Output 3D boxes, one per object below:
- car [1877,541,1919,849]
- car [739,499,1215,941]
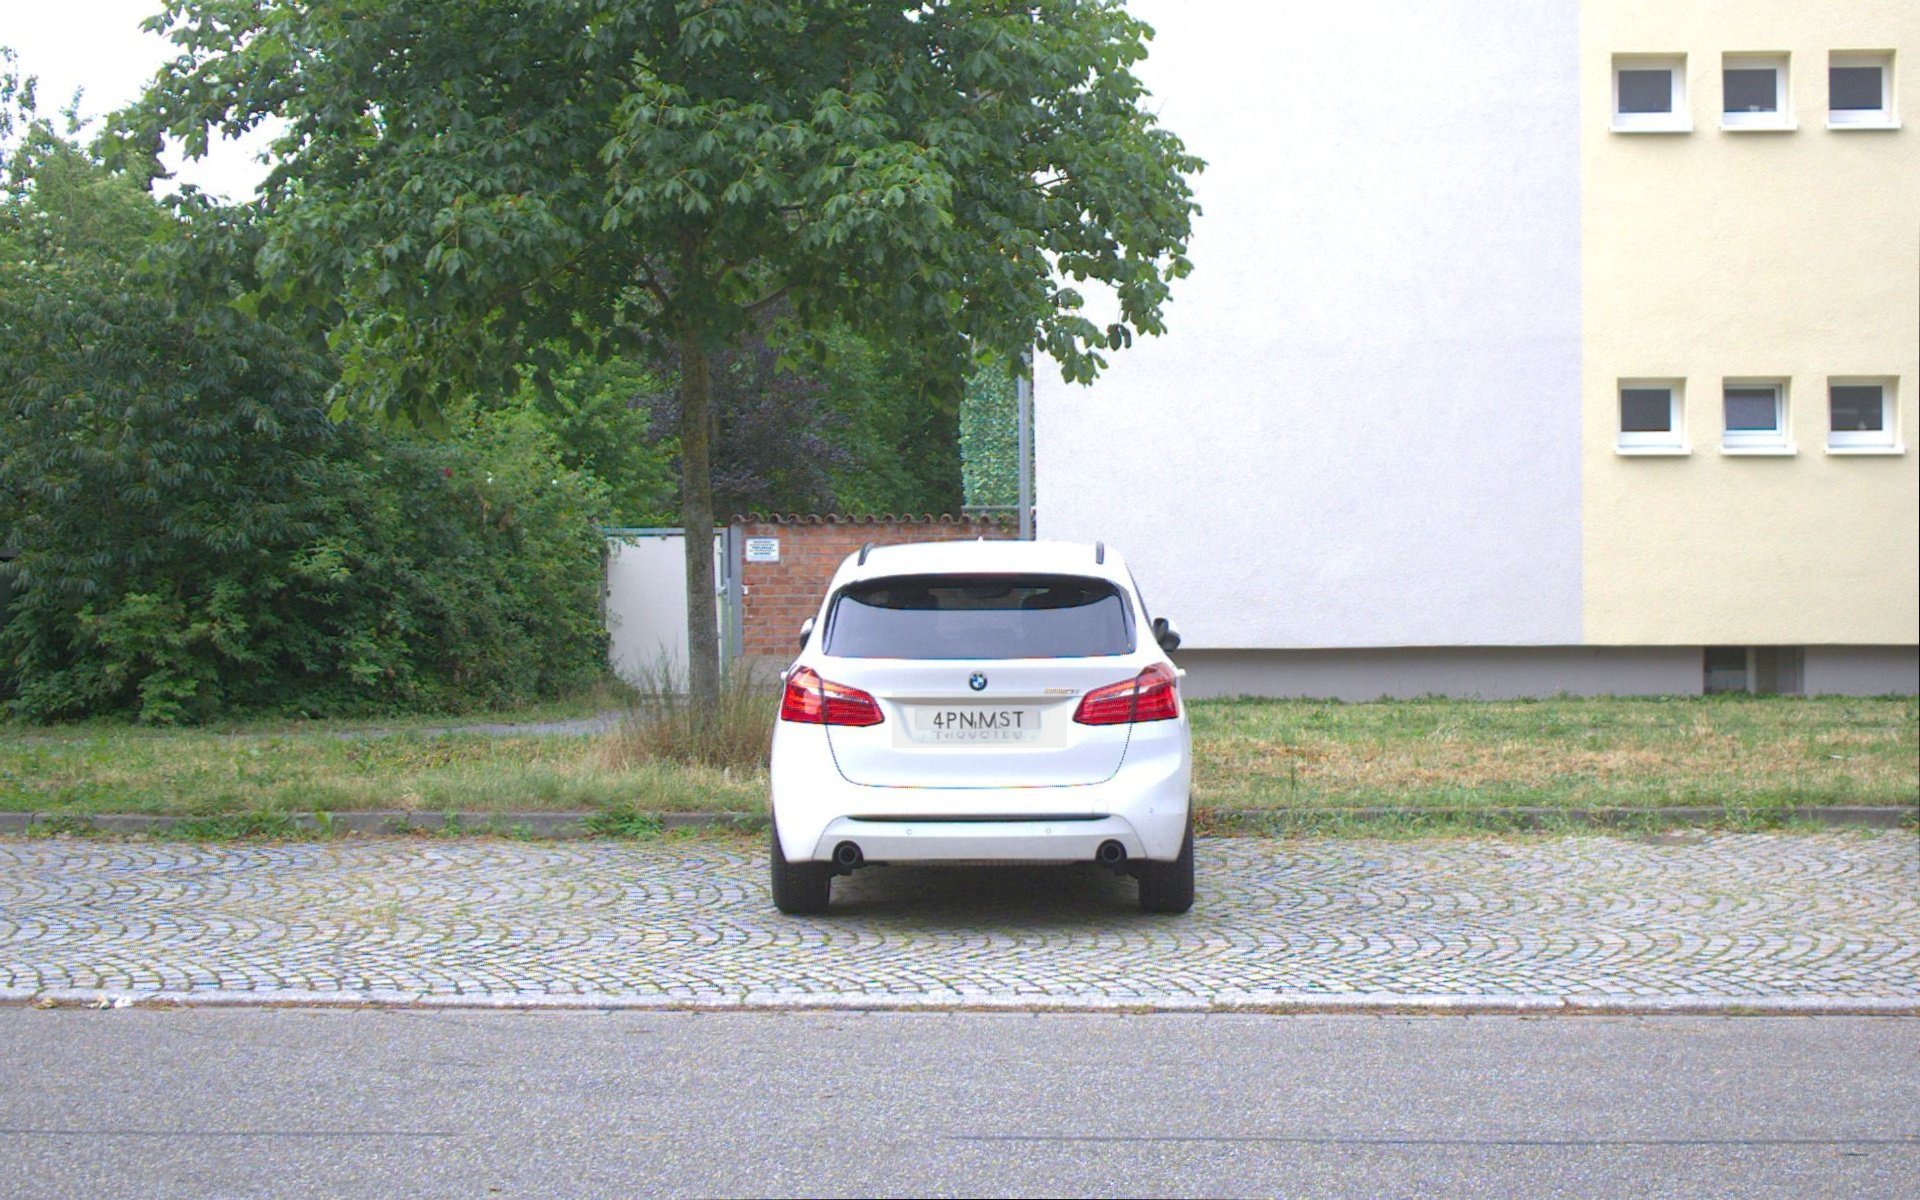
[{"bbox_3d":[5.437,0.505,15.516,1.836,1.458,4.559,0,2,6],"label":"car"},{"bbox_3d":[0.152,0.419,15.807,1.878,1.555,4.149,1,4,2],"label":"car"}]
